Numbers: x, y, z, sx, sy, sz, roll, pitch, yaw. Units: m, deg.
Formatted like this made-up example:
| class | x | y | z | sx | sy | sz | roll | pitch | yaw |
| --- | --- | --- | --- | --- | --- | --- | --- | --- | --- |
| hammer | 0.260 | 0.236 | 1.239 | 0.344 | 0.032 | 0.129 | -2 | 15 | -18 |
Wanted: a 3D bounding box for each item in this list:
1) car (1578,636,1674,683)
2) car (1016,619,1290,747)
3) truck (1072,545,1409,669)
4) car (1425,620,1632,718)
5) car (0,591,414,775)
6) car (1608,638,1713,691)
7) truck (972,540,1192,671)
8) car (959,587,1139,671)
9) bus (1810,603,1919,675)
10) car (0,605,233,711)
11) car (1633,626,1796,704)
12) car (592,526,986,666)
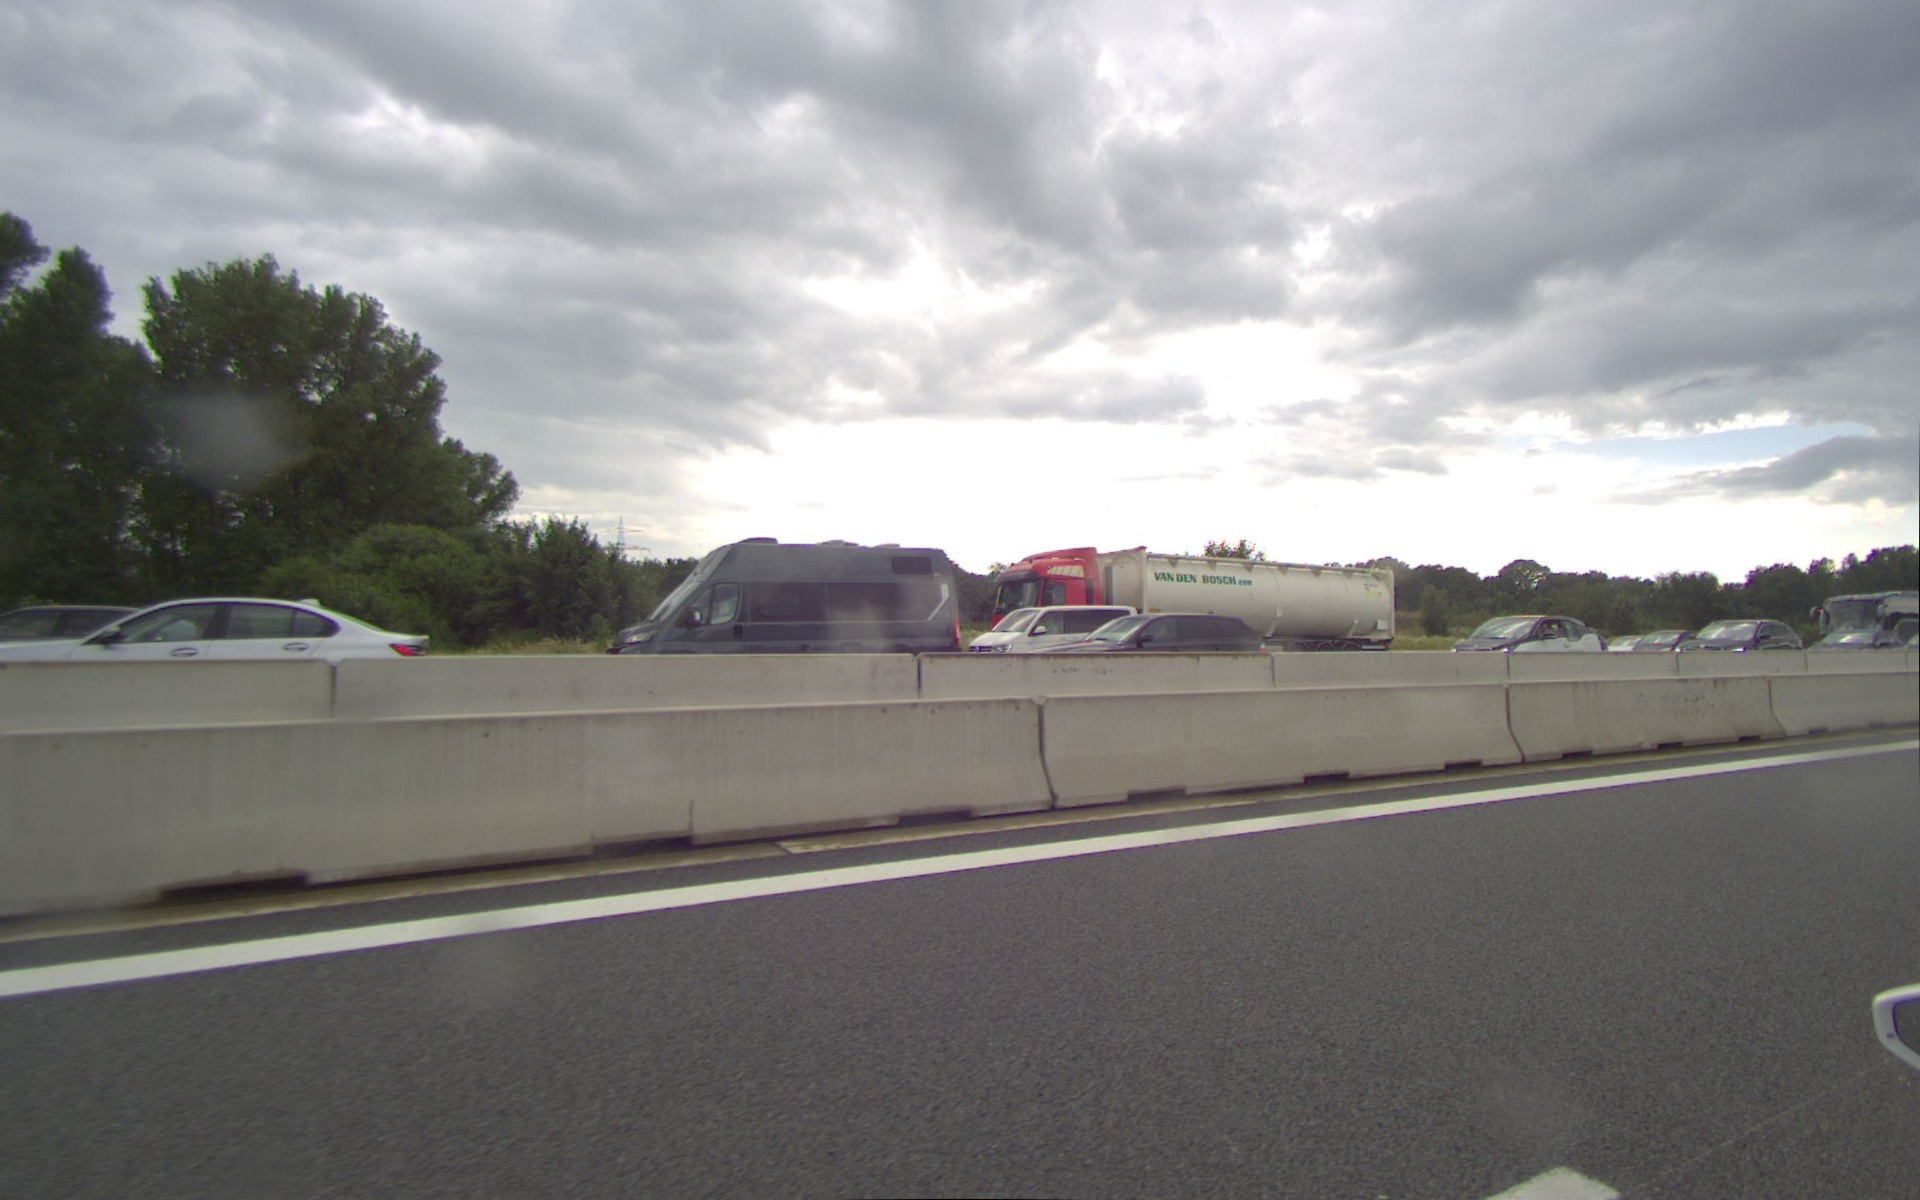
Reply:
| class | x | y | z | sx | sy | sz | roll | pitch | yaw |
| --- | --- | --- | --- | --- | --- | --- | --- | --- | --- |
| car | 31.142 | 2.738 | 46.945 | 4.371 | 2.040 | 1.985 | 1 | 0 | -29 |
| car | 3.494 | 1.391 | 17.975 | 4.640 | 1.993 | 1.985 | 1 | 0 | -29 |
| truck | 10.214 | 0.354 | 35.397 | 13.141 | 3.795 | 3.134 | 1 | 0 | -30 |
| car | 12.944 | 1.496 | 22.817 | 4.640 | 1.993 | 1.985 | 1 | 0 | -29 |
| car | -8.246 | 0.815 | 11.008 | 3.952 | 1.742 | 1.796 | 1 | 0 | -29 |
| car | 29.061 | 2.632 | 41.648 | 4.178 | 2.040 | 1.984 | 1 | 0 | -30 |
| truck | 3.881 | 0.225 | 31.715 | 6.242 | 3.761 | 3.137 | 1 | 0 | -29 |
| car | 2.267 | 0.732 | 25.475 | 4.162 | 1.973 | 1.985 | 1 | 0 | -29 |
| bus | 49.519 | 2.040 | 52.890 | 13.830 | 3.430 | 2.675 | 1 | 0 | -30 |
| car | -13.907 | 0.867 | 15.683 | 3.953 | 1.542 | 1.608 | 1 | 0 | -30 |
| car | 21.221 | 1.765 | 28.214 | 4.640 | 1.993 | 1.985 | 1 | 0 | -29 |
| car | -2.984 | 0.006 | 18.335 | 6.735 | 2.194 | 2.249 | 1 | 0 | -30 |
